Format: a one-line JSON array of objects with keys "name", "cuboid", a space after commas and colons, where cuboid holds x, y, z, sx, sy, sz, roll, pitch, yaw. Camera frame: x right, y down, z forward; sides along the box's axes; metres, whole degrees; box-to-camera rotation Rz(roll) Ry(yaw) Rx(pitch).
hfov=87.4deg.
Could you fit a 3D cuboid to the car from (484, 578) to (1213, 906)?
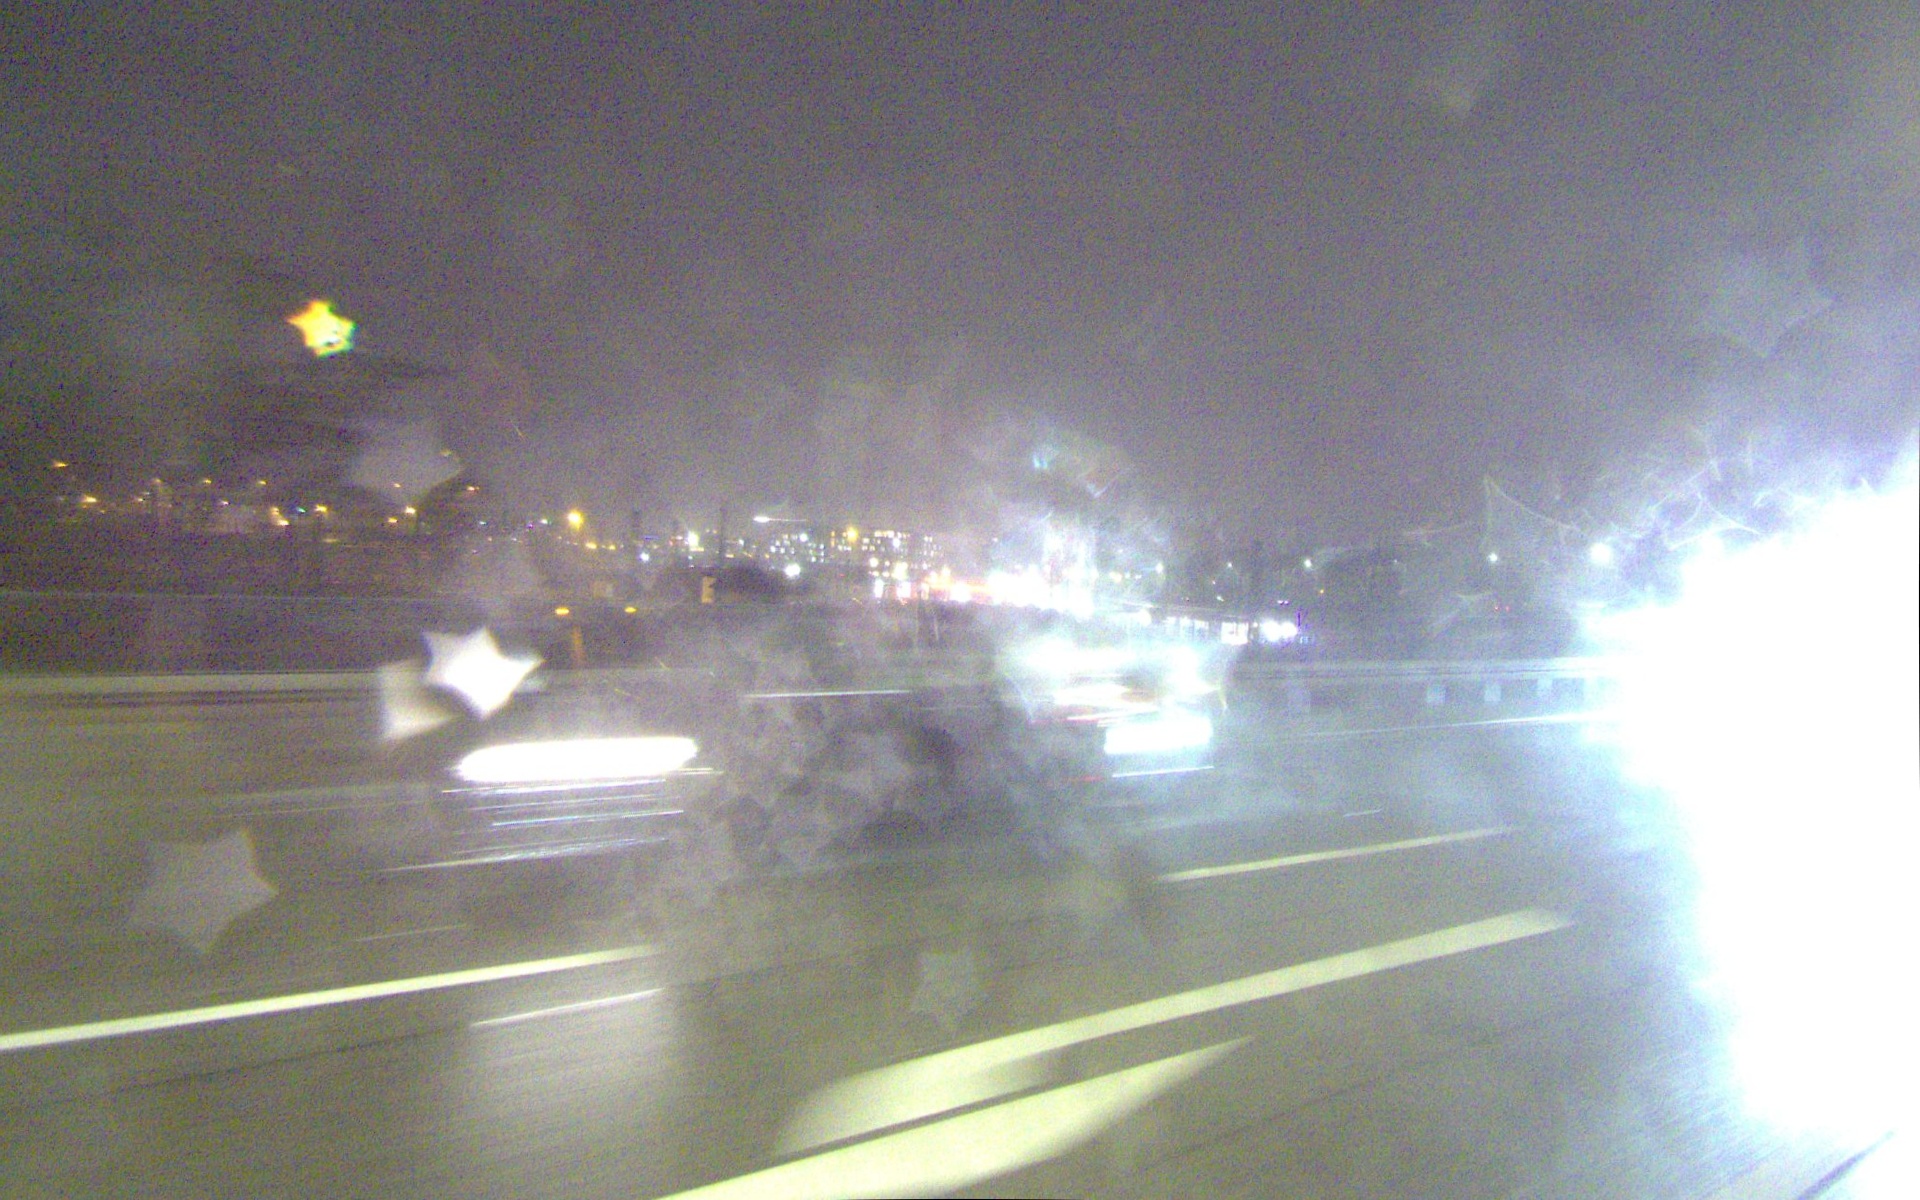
[{"name": "car", "cuboid": [-0.583, 0.681, 6.263, 4.170, 1.446, 1.758, 2, -1, -31]}]
